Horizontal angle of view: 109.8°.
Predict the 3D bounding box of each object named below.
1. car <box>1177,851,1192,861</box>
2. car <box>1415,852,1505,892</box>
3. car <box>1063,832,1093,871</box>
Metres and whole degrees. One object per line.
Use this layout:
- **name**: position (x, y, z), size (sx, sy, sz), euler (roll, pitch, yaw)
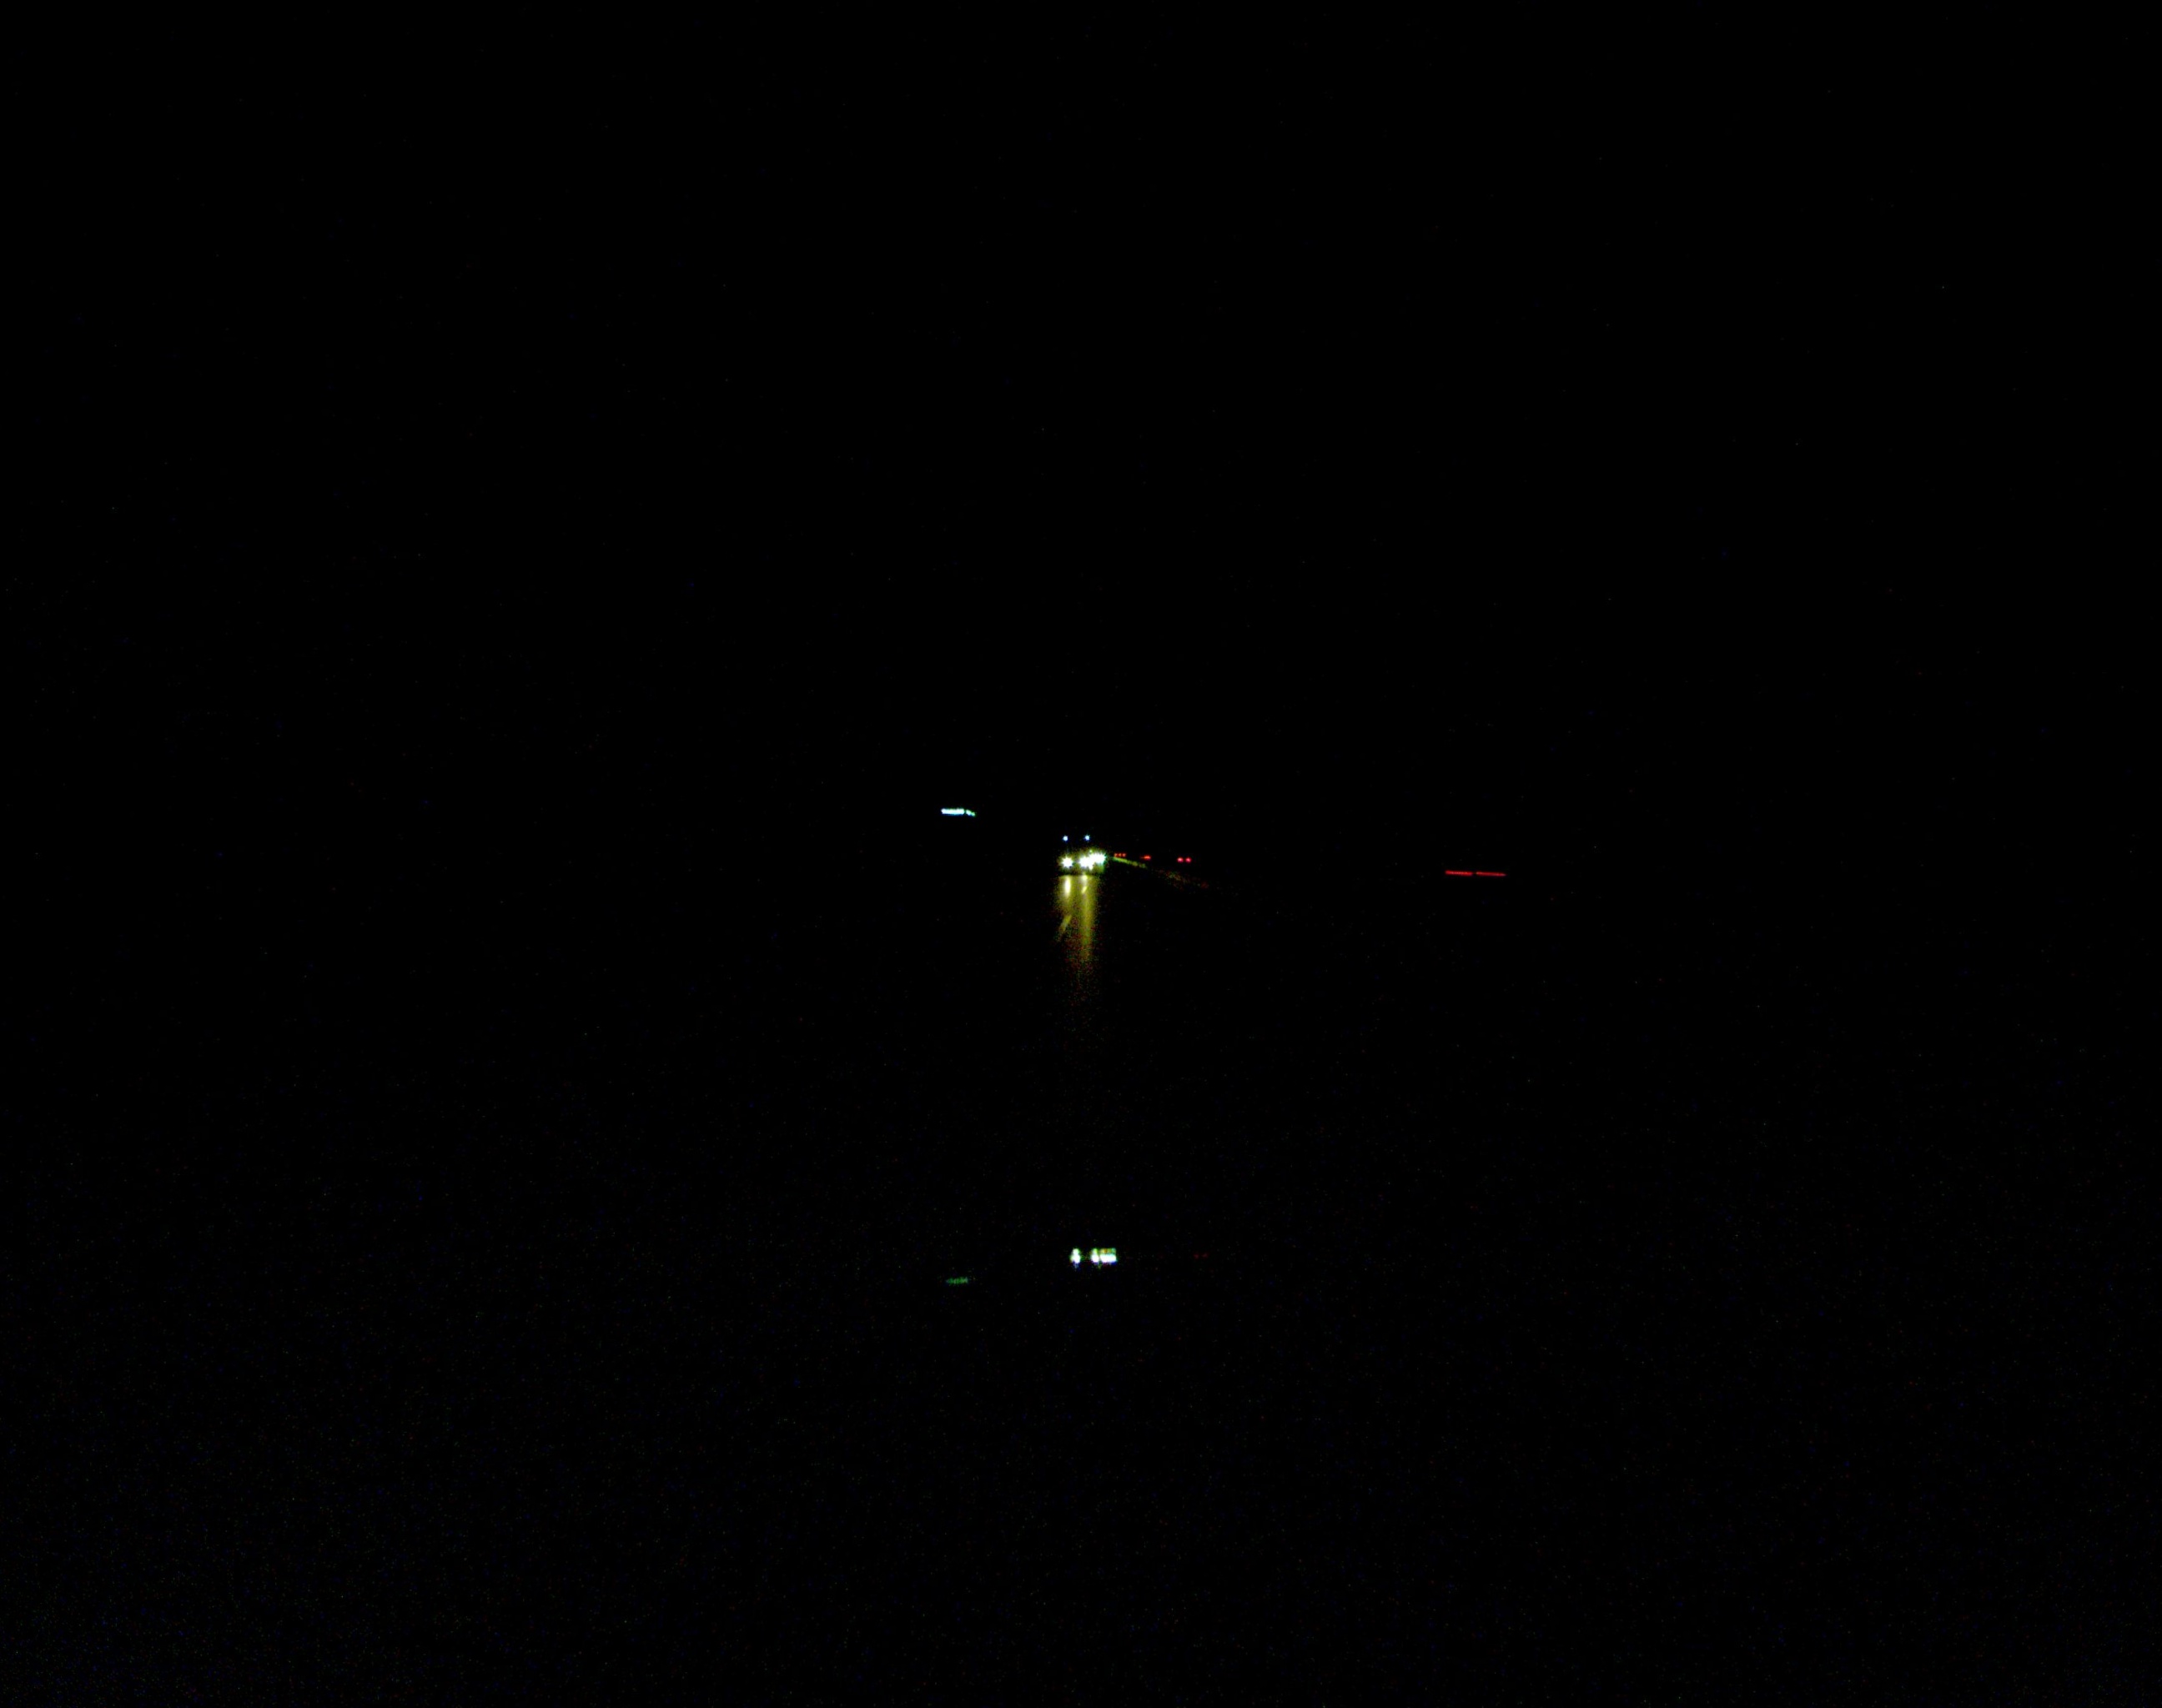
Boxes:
- **car**: position (17.221, 0.315, 126.695), size (1.908, 1.633, 5.298), euler (0, 0, 2)
- **car**: position (18.040, 0.817, 36.458), size (2.049, 1.710, 4.775), euler (2, 0, 2)
- **car**: position (-0.187, -0.238, 66.180), size (2.255, 3.205, 6.878), euler (-2, 1, 2)
